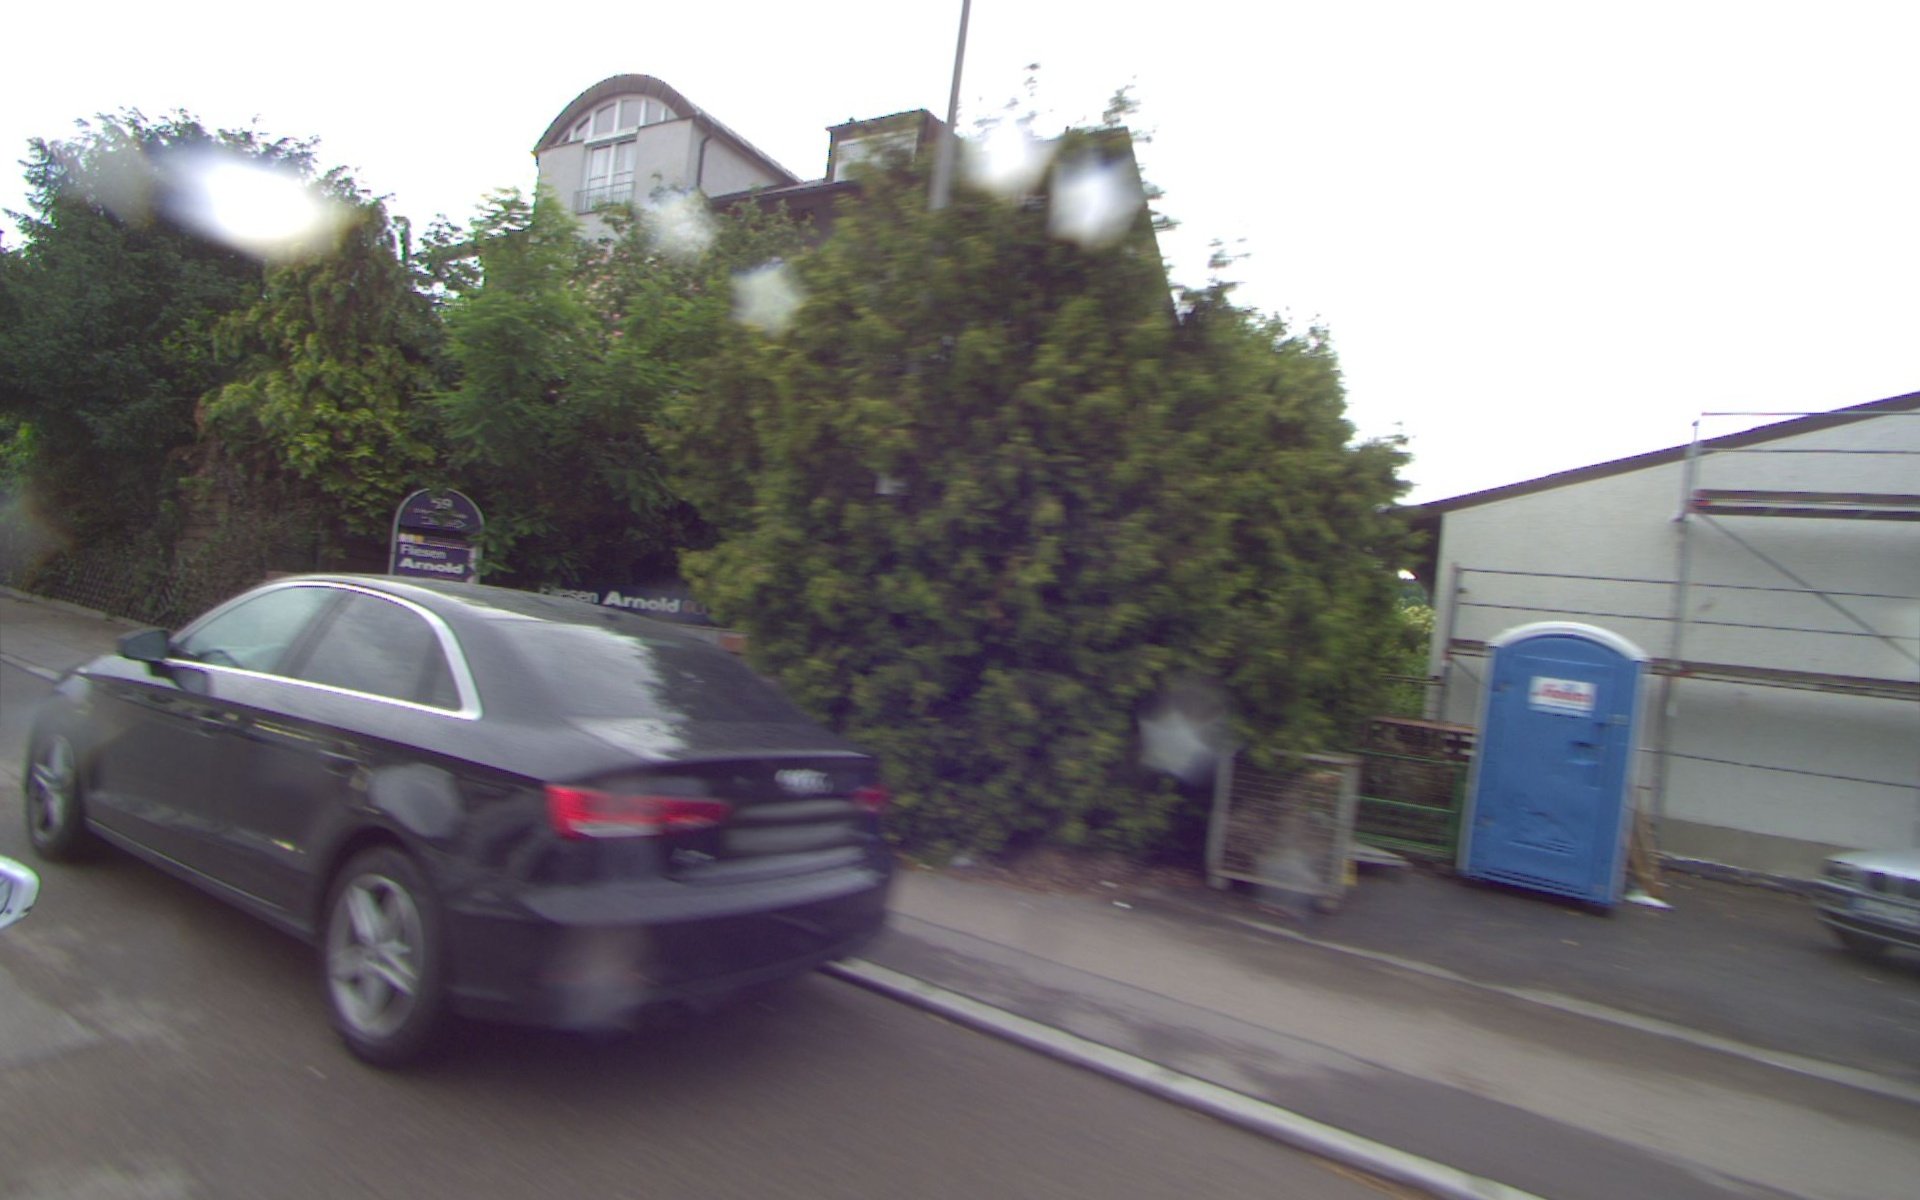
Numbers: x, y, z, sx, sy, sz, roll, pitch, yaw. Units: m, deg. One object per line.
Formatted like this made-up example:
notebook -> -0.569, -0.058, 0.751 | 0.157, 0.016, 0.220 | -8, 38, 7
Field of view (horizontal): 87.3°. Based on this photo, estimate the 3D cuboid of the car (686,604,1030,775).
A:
car -> -0.951, 1.123, 11.499 | 1.673, 1.444, 3.999 | 7, -5, 33

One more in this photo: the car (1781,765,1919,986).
car -> 8.532, 2.244, 7.434 | 3.704, 1.385, 1.604 | 8, -1, -7

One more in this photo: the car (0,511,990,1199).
car -> -2.123, 0.586, 4.180 | 4.042, 1.435, 1.754 | 7, -1, 32

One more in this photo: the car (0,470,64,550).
car -> -34.129, -3.335, 34.290 | 2.204, 2.550, 4.809 | 7, -1, 10
